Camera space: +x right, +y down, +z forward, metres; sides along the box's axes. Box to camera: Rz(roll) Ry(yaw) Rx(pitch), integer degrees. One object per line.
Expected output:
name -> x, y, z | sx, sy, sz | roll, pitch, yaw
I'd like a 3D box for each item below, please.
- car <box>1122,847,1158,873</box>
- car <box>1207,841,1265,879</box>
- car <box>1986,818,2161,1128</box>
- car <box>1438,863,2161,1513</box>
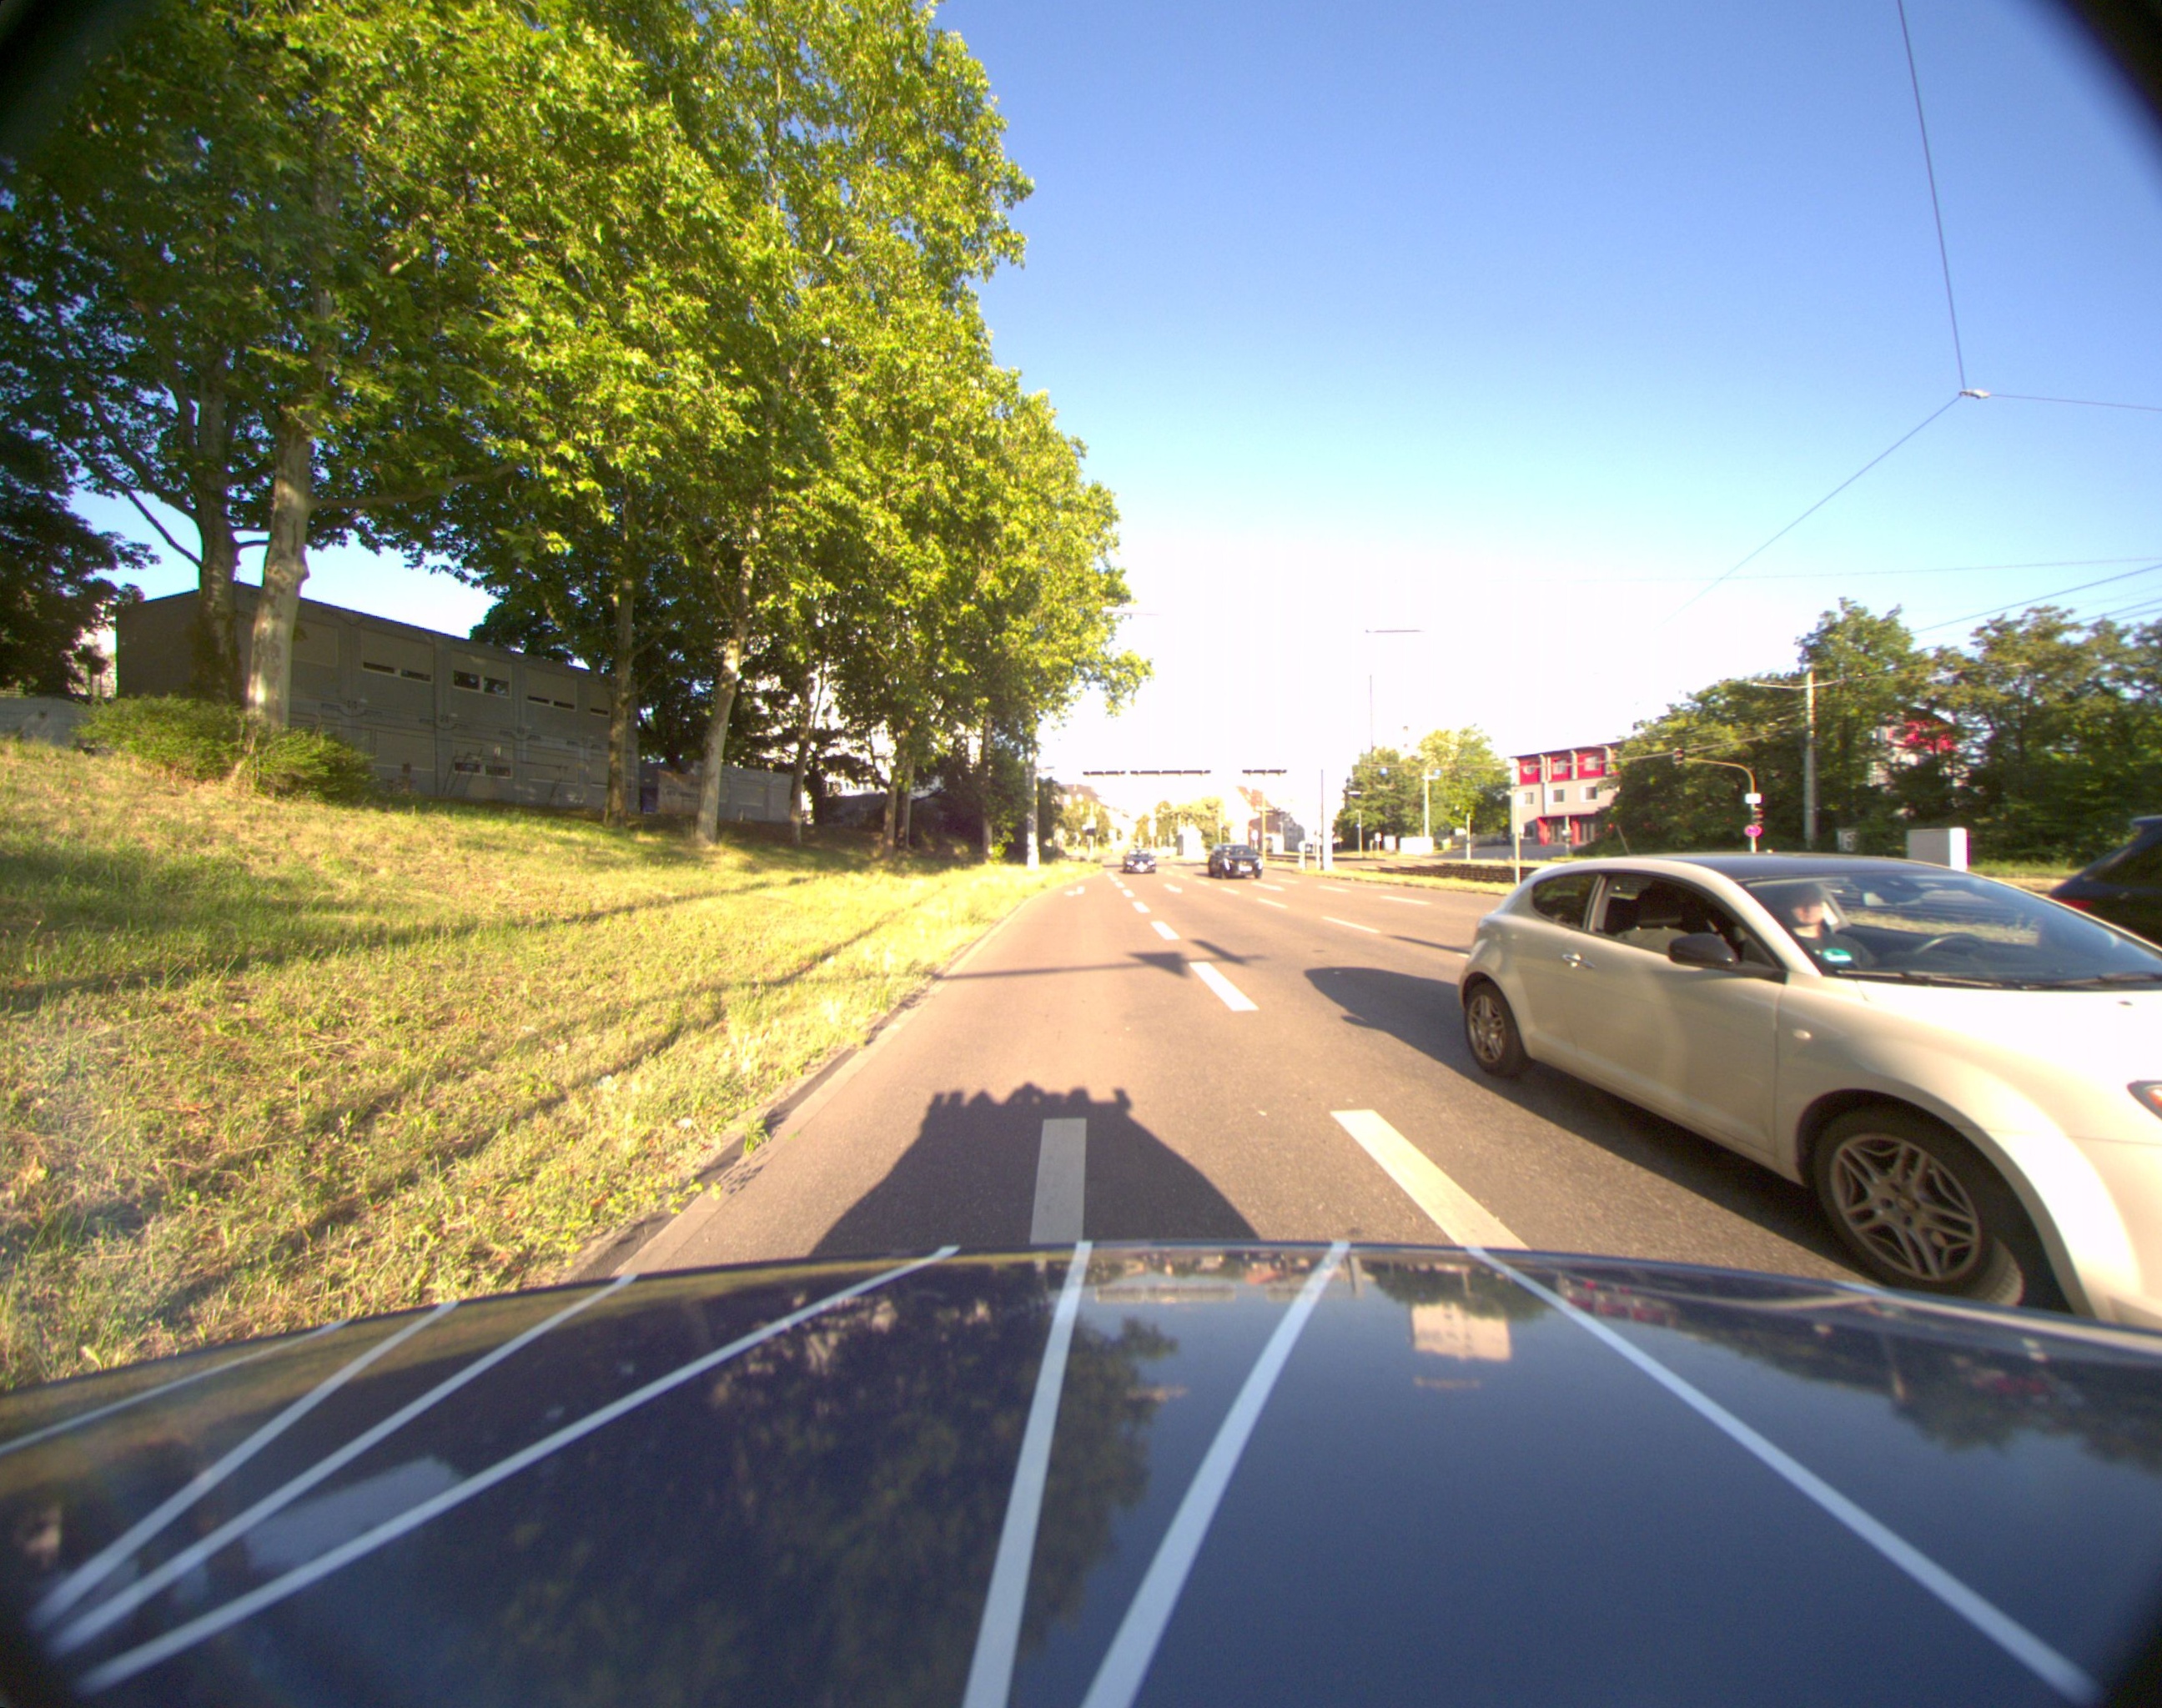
car -> 3.444, 0.301, 45.102 | 1.741, 1.429, 3.999 | -2, 1, -1
car -> 7.245, 0.254, 35.935 | 1.905, 1.652, 4.276 | -1, 0, 1
car -> 6.788, 0.622, 2.570 | 1.819, 1.670, 4.622 | -2, 0, -3
car -> 3.450, 0.827, 3.448 | 1.741, 1.496, 3.999 | -1, 0, -1
